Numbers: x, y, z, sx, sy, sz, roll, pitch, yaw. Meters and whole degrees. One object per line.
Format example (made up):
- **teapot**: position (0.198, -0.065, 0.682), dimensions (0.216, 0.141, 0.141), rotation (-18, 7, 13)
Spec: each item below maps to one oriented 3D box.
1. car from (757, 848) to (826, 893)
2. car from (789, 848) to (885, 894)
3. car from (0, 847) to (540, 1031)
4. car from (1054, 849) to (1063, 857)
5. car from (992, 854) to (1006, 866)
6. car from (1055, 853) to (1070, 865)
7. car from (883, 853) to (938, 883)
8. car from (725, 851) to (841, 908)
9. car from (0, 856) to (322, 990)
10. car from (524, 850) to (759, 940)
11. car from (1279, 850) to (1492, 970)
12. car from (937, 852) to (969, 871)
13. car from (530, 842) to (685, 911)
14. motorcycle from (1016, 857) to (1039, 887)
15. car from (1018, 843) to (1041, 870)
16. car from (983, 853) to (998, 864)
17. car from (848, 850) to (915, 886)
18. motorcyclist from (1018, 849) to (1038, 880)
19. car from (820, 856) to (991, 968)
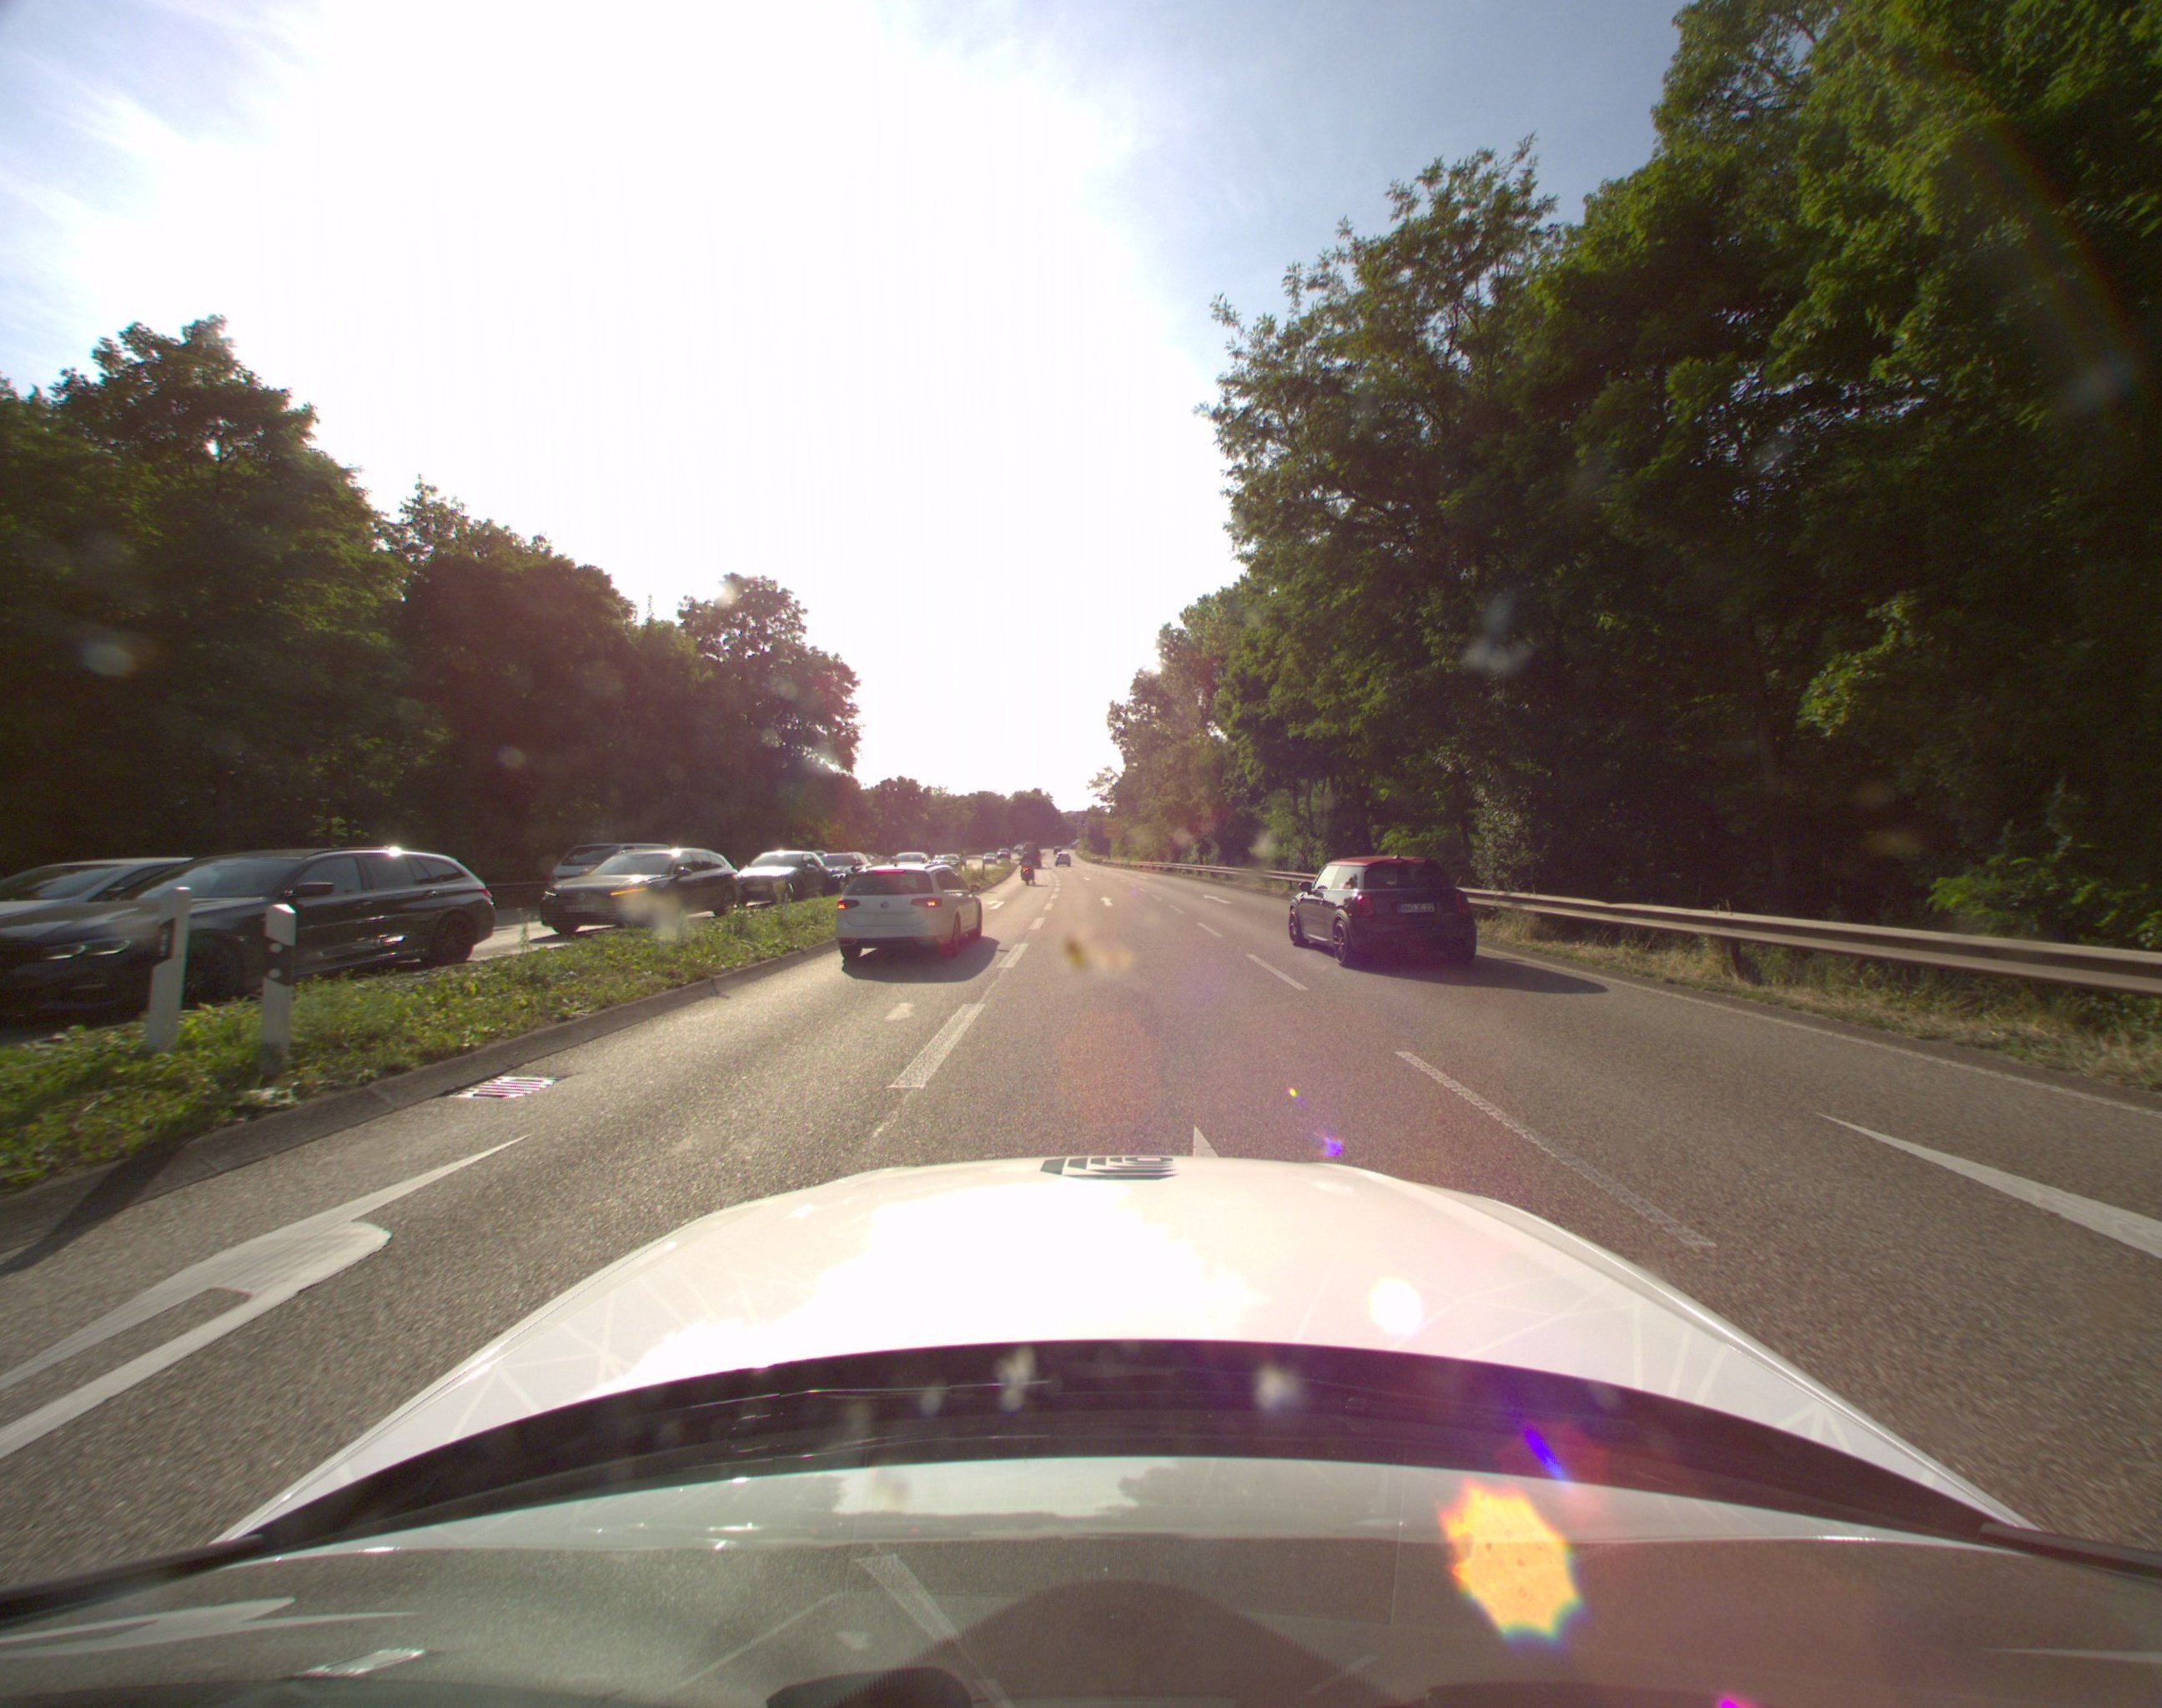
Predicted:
- **car**: position (-12.027, 0.649, 34.062), dimensions (1.621, 1.706, 3.572), rotation (-3, 0, -2)
- **car**: position (-8.394, 0.522, 28.541), dimensions (1.761, 1.423, 5.192), rotation (-1, 0, 0)
- **car**: position (-8.214, 0.644, 8.598), dimensions (1.766, 1.379, 4.842), rotation (-1, 0, -1)
- **car**: position (-4.826, -0.229, 172.401), dimensions (1.741, 1.537, 3.919), rotation (1, 0, -5)
- **car**: position (-13.888, 1.008, 137.419), dimensions (2.071, 1.763, 4.751), rotation (-2, 0, -3)
- **car**: position (-2.232, 0.579, 100.175), dimensions (1.755, 1.380, 3.971), rotation (1, 0, 0)
- **car**: position (-8.590, 0.661, 41.454), dimensions (1.862, 1.417, 4.414), rotation (-1, 0, -1)
- **car**: position (-8.223, 0.638, 22.877), dimensions (1.701, 1.423, 4.210), rotation (-1, 0, -1)
- **car**: position (-12.128, 0.774, 10.324), dimensions (1.541, 1.384, 3.617), rotation (-4, 0, -1)
- **car**: position (-8.193, 0.662, 15.879), dimensions (1.766, 1.423, 5.191), rotation (-1, 0, -1)
- **car**: position (4.249, 0.692, 12.059), dimensions (1.813, 1.467, 3.875), rotation (-1, 0, 2)
- **car**: position (-12.367, 0.688, 79.041), dimensions (2.096, 1.708, 6.223), rotation (-1, 0, -1)
- **car**: position (-15.309, 0.660, 26.746), dimensions (2.006, 1.935, 5.100), rotation (-3, 0, -1)
- **motorcycle**: position (-2.828, 0.911, 43.108), dimensions (0.905, 1.453, 2.690), rotation (-3, 0, 1)
- **car**: position (-5.757, 0.251, 91.737), dimensions (2.203, 2.888, 7.009), rotation (-1, 0, -1)
- **car**: position (-12.626, 0.580, 113.867), dimensions (1.784, 1.411, 4.222), rotation (1, 0, -3)
- **car**: position (-8.418, 0.561, 34.789), dimensions (1.761, 1.417, 4.433), rotation (-1, 0, -1)
- **motorcyclist**: position (-2.800, 0.542, 43.068), dimensions (0.880, 1.616, 1.290), rotation (1, 0, 1)
- **car**: position (-2.780, 0.839, 14.092), dimensions (1.864, 1.521, 4.833), rotation (2, 0, 0)
